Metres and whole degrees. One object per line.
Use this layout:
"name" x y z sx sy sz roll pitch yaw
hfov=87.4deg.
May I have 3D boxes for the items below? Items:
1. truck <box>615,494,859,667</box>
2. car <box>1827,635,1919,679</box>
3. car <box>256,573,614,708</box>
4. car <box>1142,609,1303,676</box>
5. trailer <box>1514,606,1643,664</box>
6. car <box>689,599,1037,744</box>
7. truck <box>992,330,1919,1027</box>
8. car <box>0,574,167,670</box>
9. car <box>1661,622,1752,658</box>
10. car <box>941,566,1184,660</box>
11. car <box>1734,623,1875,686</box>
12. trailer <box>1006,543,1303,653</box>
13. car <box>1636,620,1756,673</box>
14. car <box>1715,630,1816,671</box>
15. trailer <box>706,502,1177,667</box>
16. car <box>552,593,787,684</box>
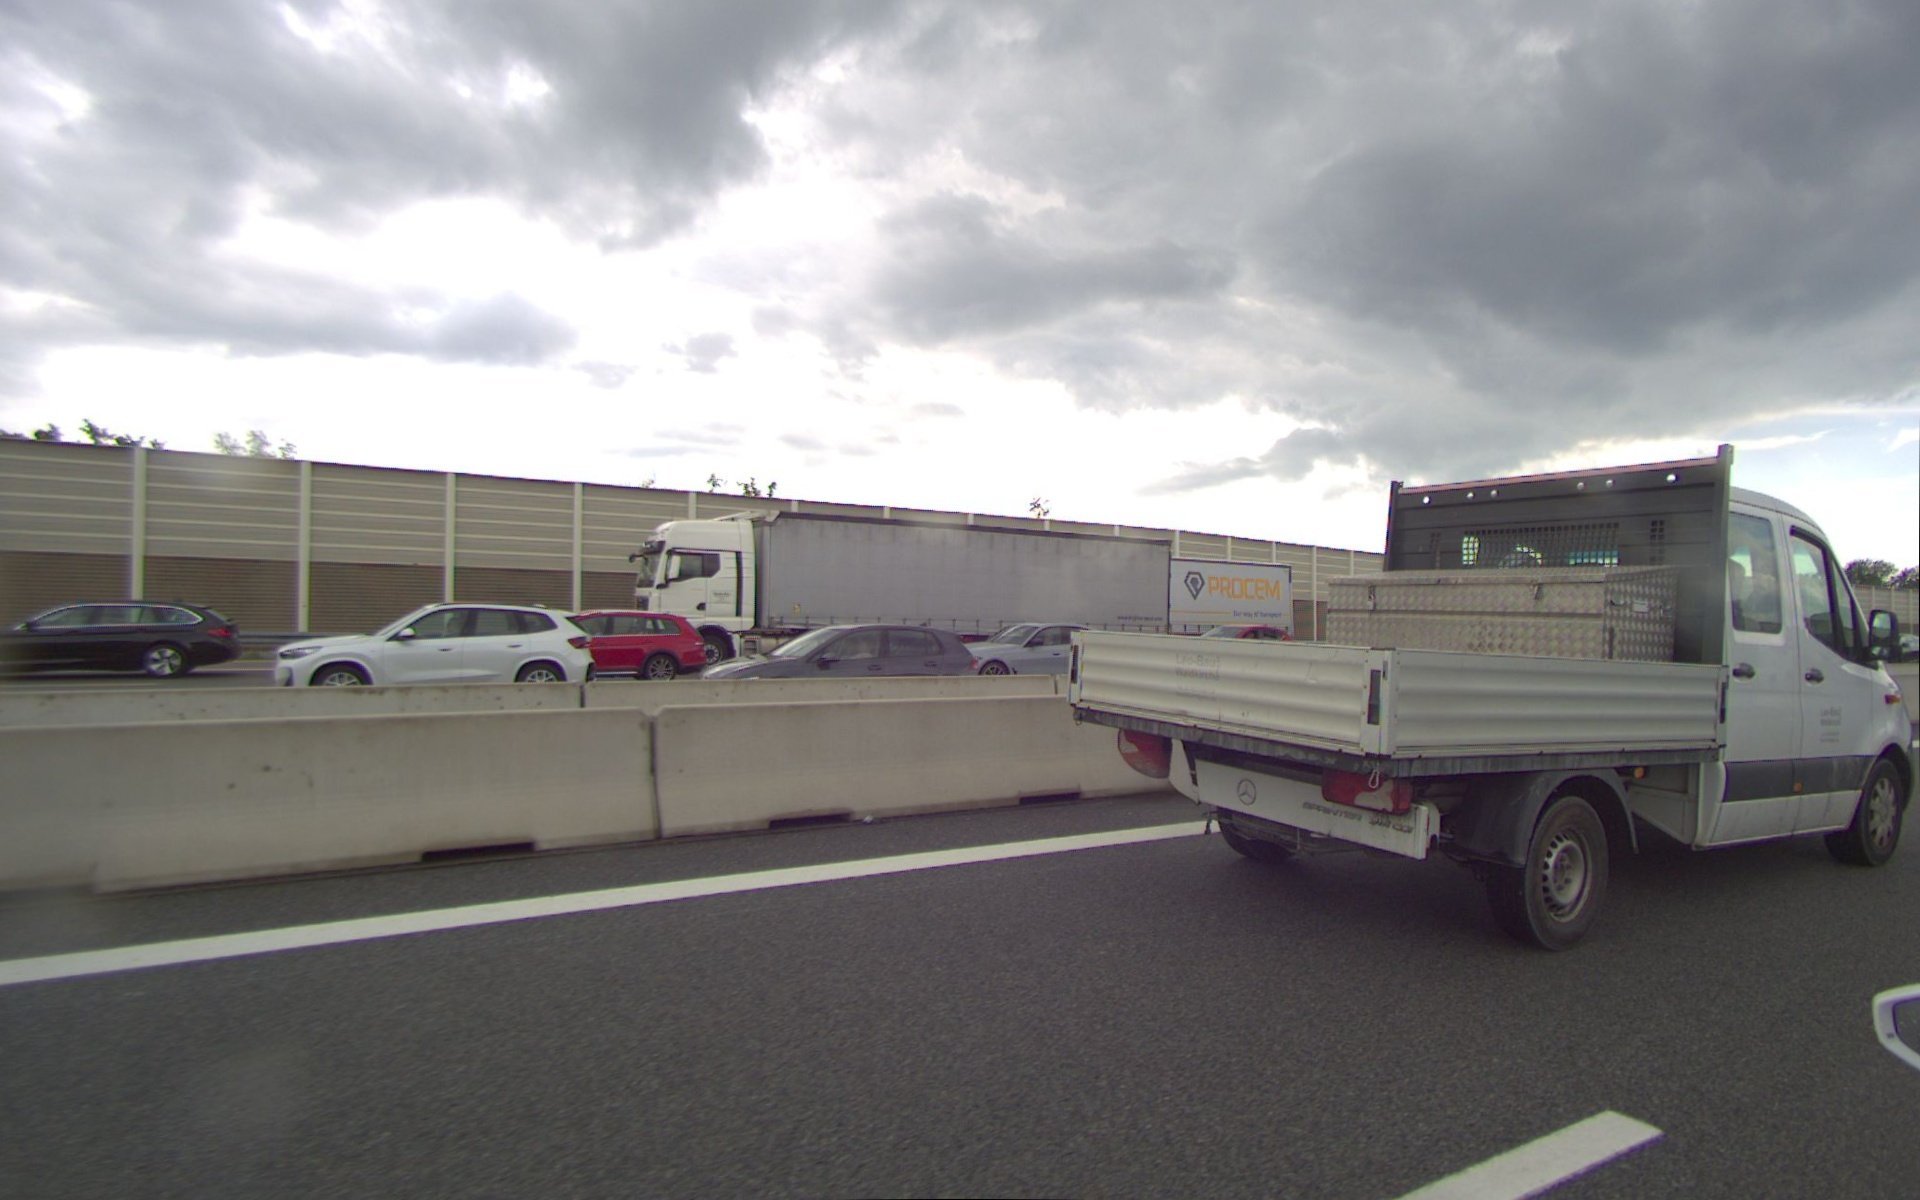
"truck" -5.827 -0.380 26.340 5.658 4.088 2.732 2 0 -30
"car" 39.112 2.382 42.676 5.031 1.722 2.050 1 0 -32
"car" -8.140 0.605 15.897 4.724 1.840 2.050 1 0 -32
"car" 7.458 1.174 28.415 4.361 1.722 1.945 1 0 -32
"trailer" 28.344 1.582 45.965 6.012 2.528 2.448 1 0 -30
"car" -1.376 0.963 14.918 4.724 1.840 2.050 1 0 -32
"truck" 3.788 0.356 6.418 7.068 2.472 2.294 2 0 -32
"car" -17.795 0.395 18.787 4.361 1.722 2.050 1 0 -31
"car" 39.146 2.081 52.639 5.029 1.722 2.051 1 0 -31
"car" 2.284 0.312 21.840 5.056 1.840 2.050 1 0 -32
"car" 25.188 1.577 29.947 4.361 1.722 1.945 1 0 -32
"trailer" 8.517 0.108 42.362 13.694 4.085 2.922 2 0 -30
"car" 26.301 1.632 35.874 4.361 1.722 1.945 1 0 -32
"car" 37.134 2.301 46.283 5.031 1.722 2.050 1 0 -32
"trailer" -0.011 -0.190 29.649 14.279 4.085 2.749 2 0 -30
"car" -6.090 0.782 21.157 4.361 1.722 2.050 1 0 -31
